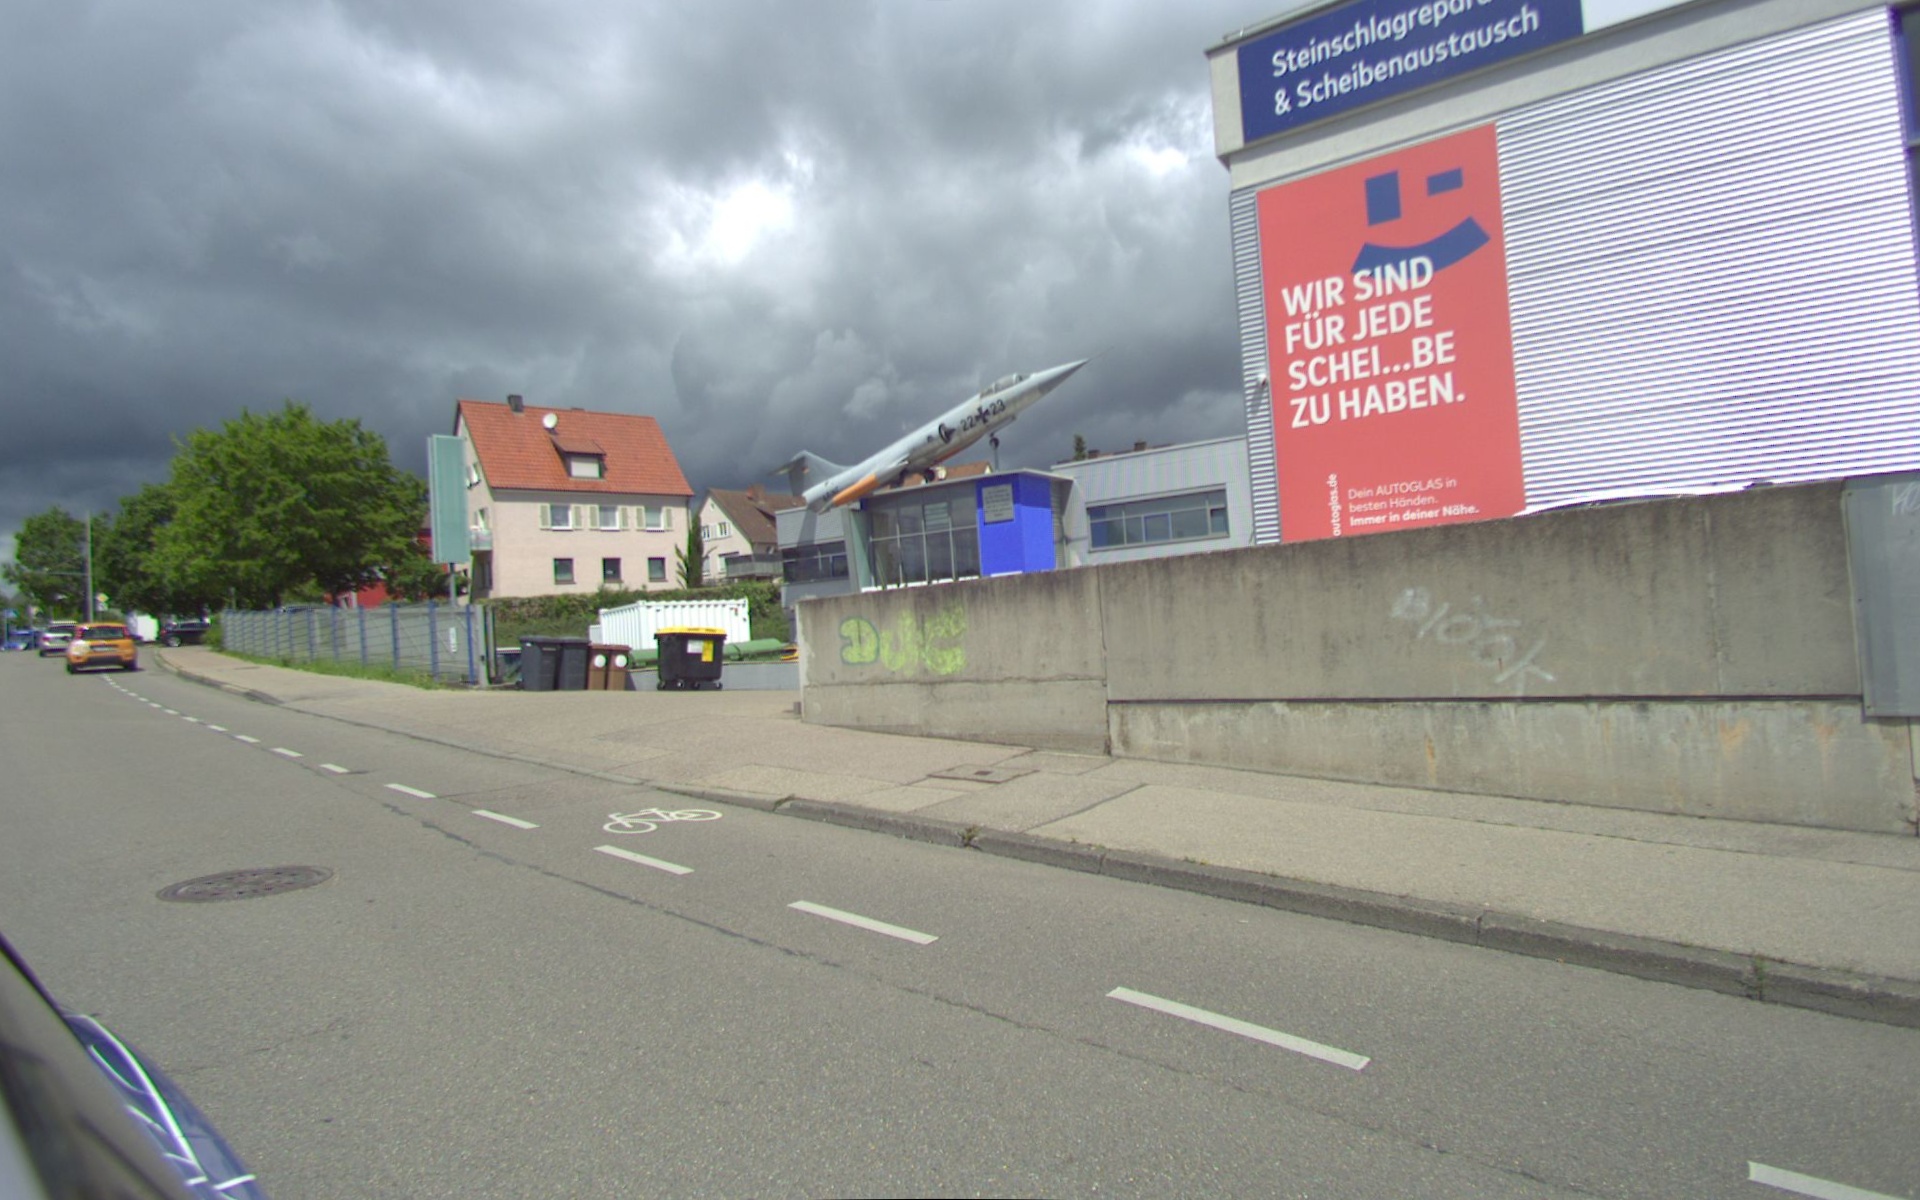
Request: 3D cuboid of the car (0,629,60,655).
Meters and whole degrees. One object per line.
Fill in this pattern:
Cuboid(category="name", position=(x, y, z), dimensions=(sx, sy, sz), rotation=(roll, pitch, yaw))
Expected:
Cuboid(category="car", position=(-80.784, 3.623, 87.609), dimensions=(1.929, 1.984, 5.143), rotation=(-1, 0, -12))

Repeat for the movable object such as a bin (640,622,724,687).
Cuboid(category="movable object such as a bin", position=(-5.868, 1.136, 21.352), dimensions=(1.232, 1.316, 1.207), rotation=(-1, -4, 43))

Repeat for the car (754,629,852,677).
Cuboid(category="car", position=(-7.193, 2.420, 46.923), dimensions=(1.919, 1.712, 4.575), rotation=(-6, 0, 30))

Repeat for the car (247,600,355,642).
Cuboid(category="car", position=(-30.116, 0.925, 46.322), dimensions=(1.523, 1.789, 3.901), rotation=(-1, 0, 43))

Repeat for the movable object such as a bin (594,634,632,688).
Cuboid(category="movable object such as a bin", position=(-7.010, 1.229, 20.431), dimensions=(0.517, 1.053, 0.509), rotation=(-1, -4, 43))

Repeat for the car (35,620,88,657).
Cuboid(category="car", position=(-40.951, 1.724, 46.087), dimensions=(1.623, 1.544, 4.225), rotation=(-1, 0, -44))

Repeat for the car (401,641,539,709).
Cuboid(category="car", position=(-17.068, 2.542, 35.380), dimensions=(3.941, 2.029, 1.853), rotation=(-1, 0, -44))

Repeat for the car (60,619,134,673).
Cuboid(category="car", position=(-27.005, 1.388, 31.750), dimensions=(1.580, 1.502, 3.689), rotation=(-1, 0, -38))

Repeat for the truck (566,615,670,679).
Cuboid(category="truck", position=(-16.124, 2.096, 47.413), dimensions=(2.288, 2.752, 6.603), rotation=(-1, 0, -40))

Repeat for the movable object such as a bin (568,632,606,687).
Cuboid(category="movable object such as a bin", position=(-7.411, 1.186, 20.118), dimensions=(0.498, 1.068, 0.496), rotation=(-1, -4, 43))

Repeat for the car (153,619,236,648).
Cuboid(category="car", position=(-45.099, 1.958, 59.641), dimensions=(3.799, 1.517, 1.588), rotation=(-1, 0, -40))

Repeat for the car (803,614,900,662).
Cuboid(category="car", position=(-4.789, 1.686, 45.378), dimensions=(1.852, 1.790, 4.574), rotation=(-6, -2, 30))

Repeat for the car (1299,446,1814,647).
Cuboid(category="car", position=(5.731, -0.424, 10.166), dimensions=(4.100, 1.649, 1.792), rotation=(-1, 0, 33))

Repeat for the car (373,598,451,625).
Cuboid(category="car", position=(-33.607, 0.710, 62.152), dimensions=(3.958, 1.517, 1.588), rotation=(-1, 0, -40))

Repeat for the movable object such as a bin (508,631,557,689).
Cuboid(category="movable object such as a bin", position=(-8.110, 1.132, 19.203), dimensions=(0.517, 1.089, 0.655), rotation=(-1, -4, 43))

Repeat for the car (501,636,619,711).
Cuboid(category="car", position=(-9.269, 1.631, 23.320), dimensions=(1.414, 1.470, 3.366), rotation=(-1, 0, -42))

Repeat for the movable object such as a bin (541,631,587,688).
Cuboid(category="movable object such as a bin", position=(-7.676, 1.149, 19.619), dimensions=(0.517, 1.089, 0.655), rotation=(-1, -4, 43))
